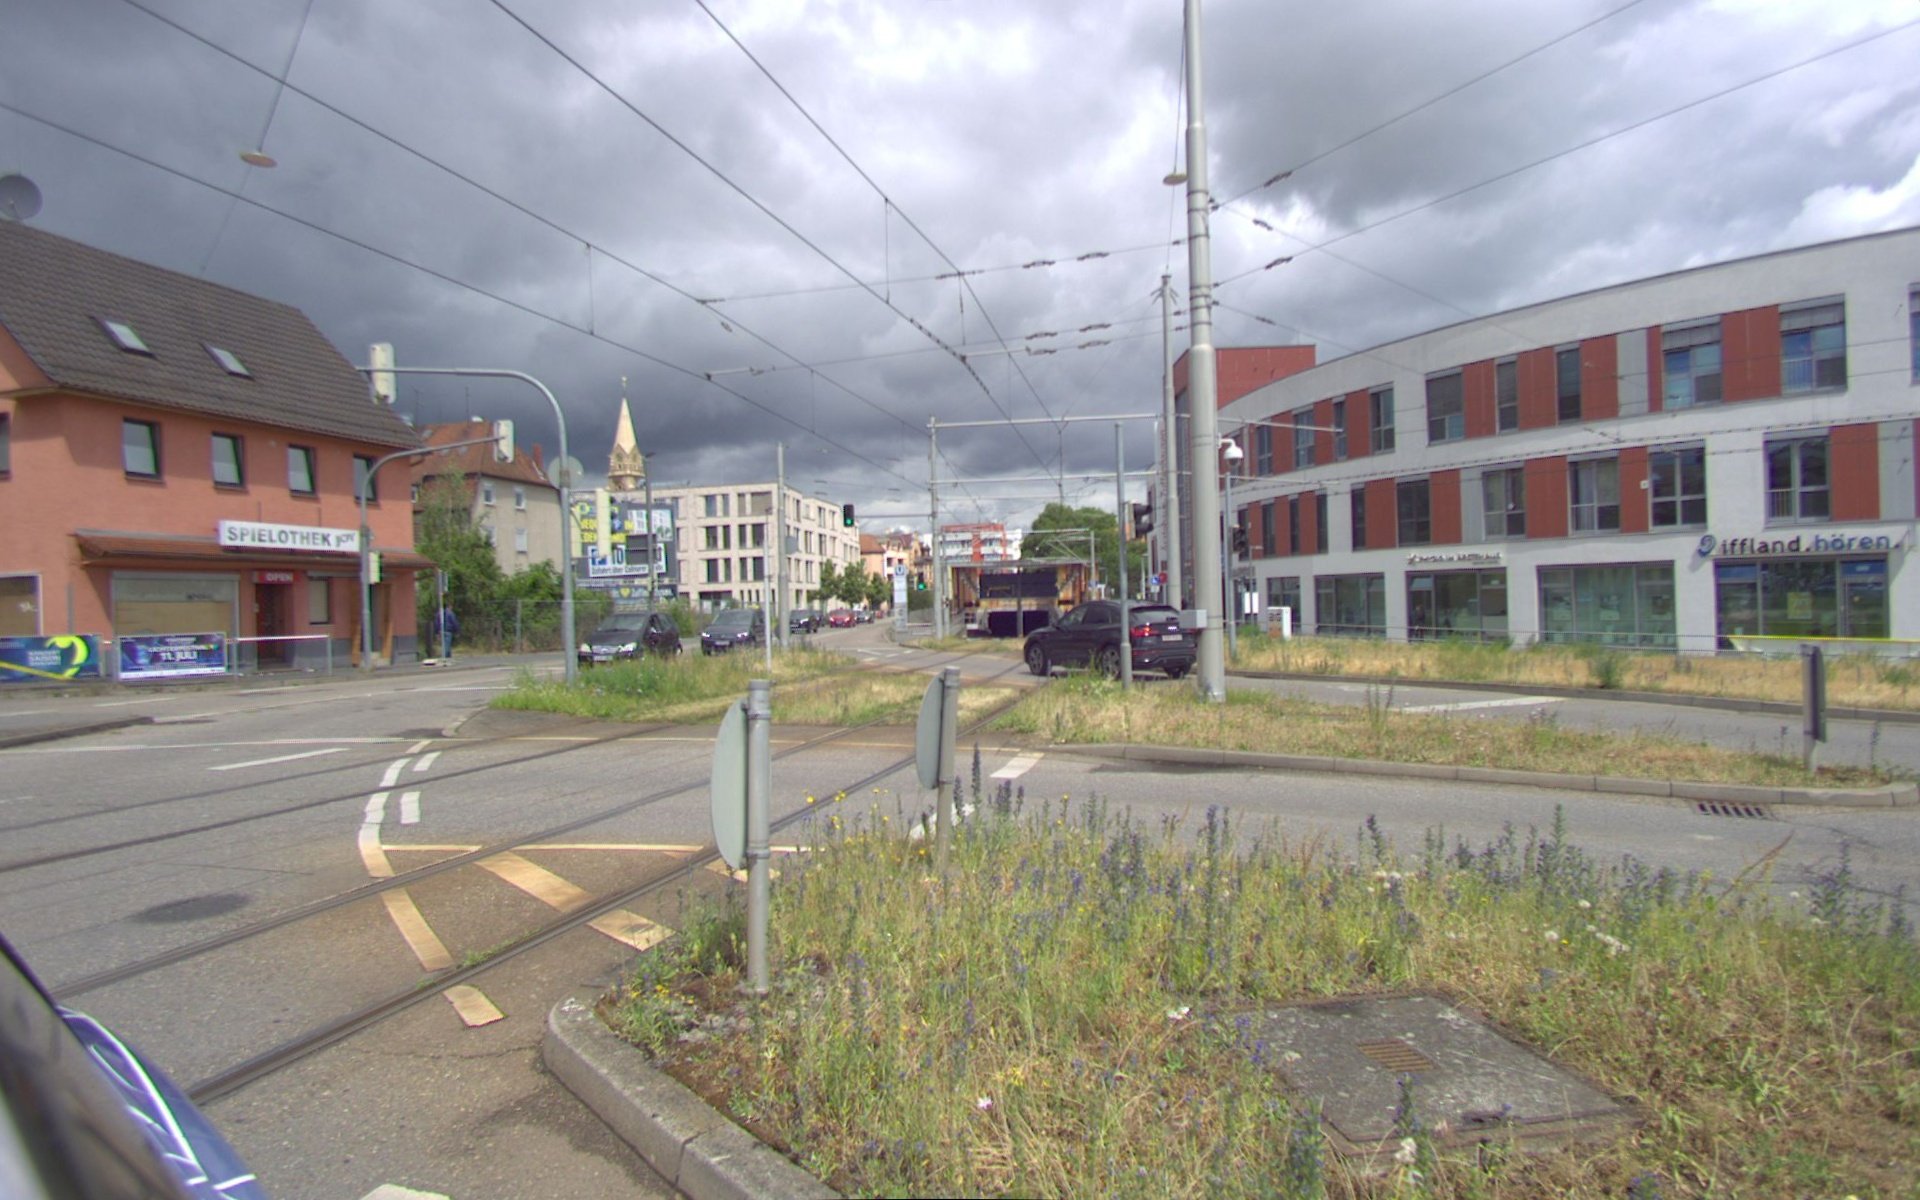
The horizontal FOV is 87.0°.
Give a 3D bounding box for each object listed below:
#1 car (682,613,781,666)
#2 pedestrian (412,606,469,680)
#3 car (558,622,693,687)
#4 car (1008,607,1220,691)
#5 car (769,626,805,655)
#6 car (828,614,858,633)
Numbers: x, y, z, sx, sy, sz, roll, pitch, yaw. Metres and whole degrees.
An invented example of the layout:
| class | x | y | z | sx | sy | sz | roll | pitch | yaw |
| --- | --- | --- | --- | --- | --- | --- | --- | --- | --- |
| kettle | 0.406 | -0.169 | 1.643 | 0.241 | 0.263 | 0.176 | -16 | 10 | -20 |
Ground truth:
| class | x | y | z | sx | sy | sz | roll | pitch | yaw |
| --- | --- | --- | --- | --- | --- | --- | --- | --- | --- |
| car | -8.085 | 1.360 | 36.315 | 1.977 | 1.662 | 4.408 | -2 | 0 | 8 |
| pedestrian | -15.466 | 1.269 | 30.162 | 1.043 | 2.164 | 1.122 | -1 | -1 | 17 |
| car | -8.774 | 1.380 | 26.927 | 1.861 | 1.439 | 3.991 | -2 | 0 | 7 |
| car | 3.134 | 0.981 | 21.549 | 1.921 | 1.581 | 4.500 | 0 | -1 | -33 |
| car | -11.239 | 2.594 | 65.943 | 1.970 | 1.684 | 4.004 | -2 | 0 | -5 |
| car | -9.847 | 1.960 | 85.331 | 1.973 | 1.469 | 3.999 | -2 | 0 | 1 |
